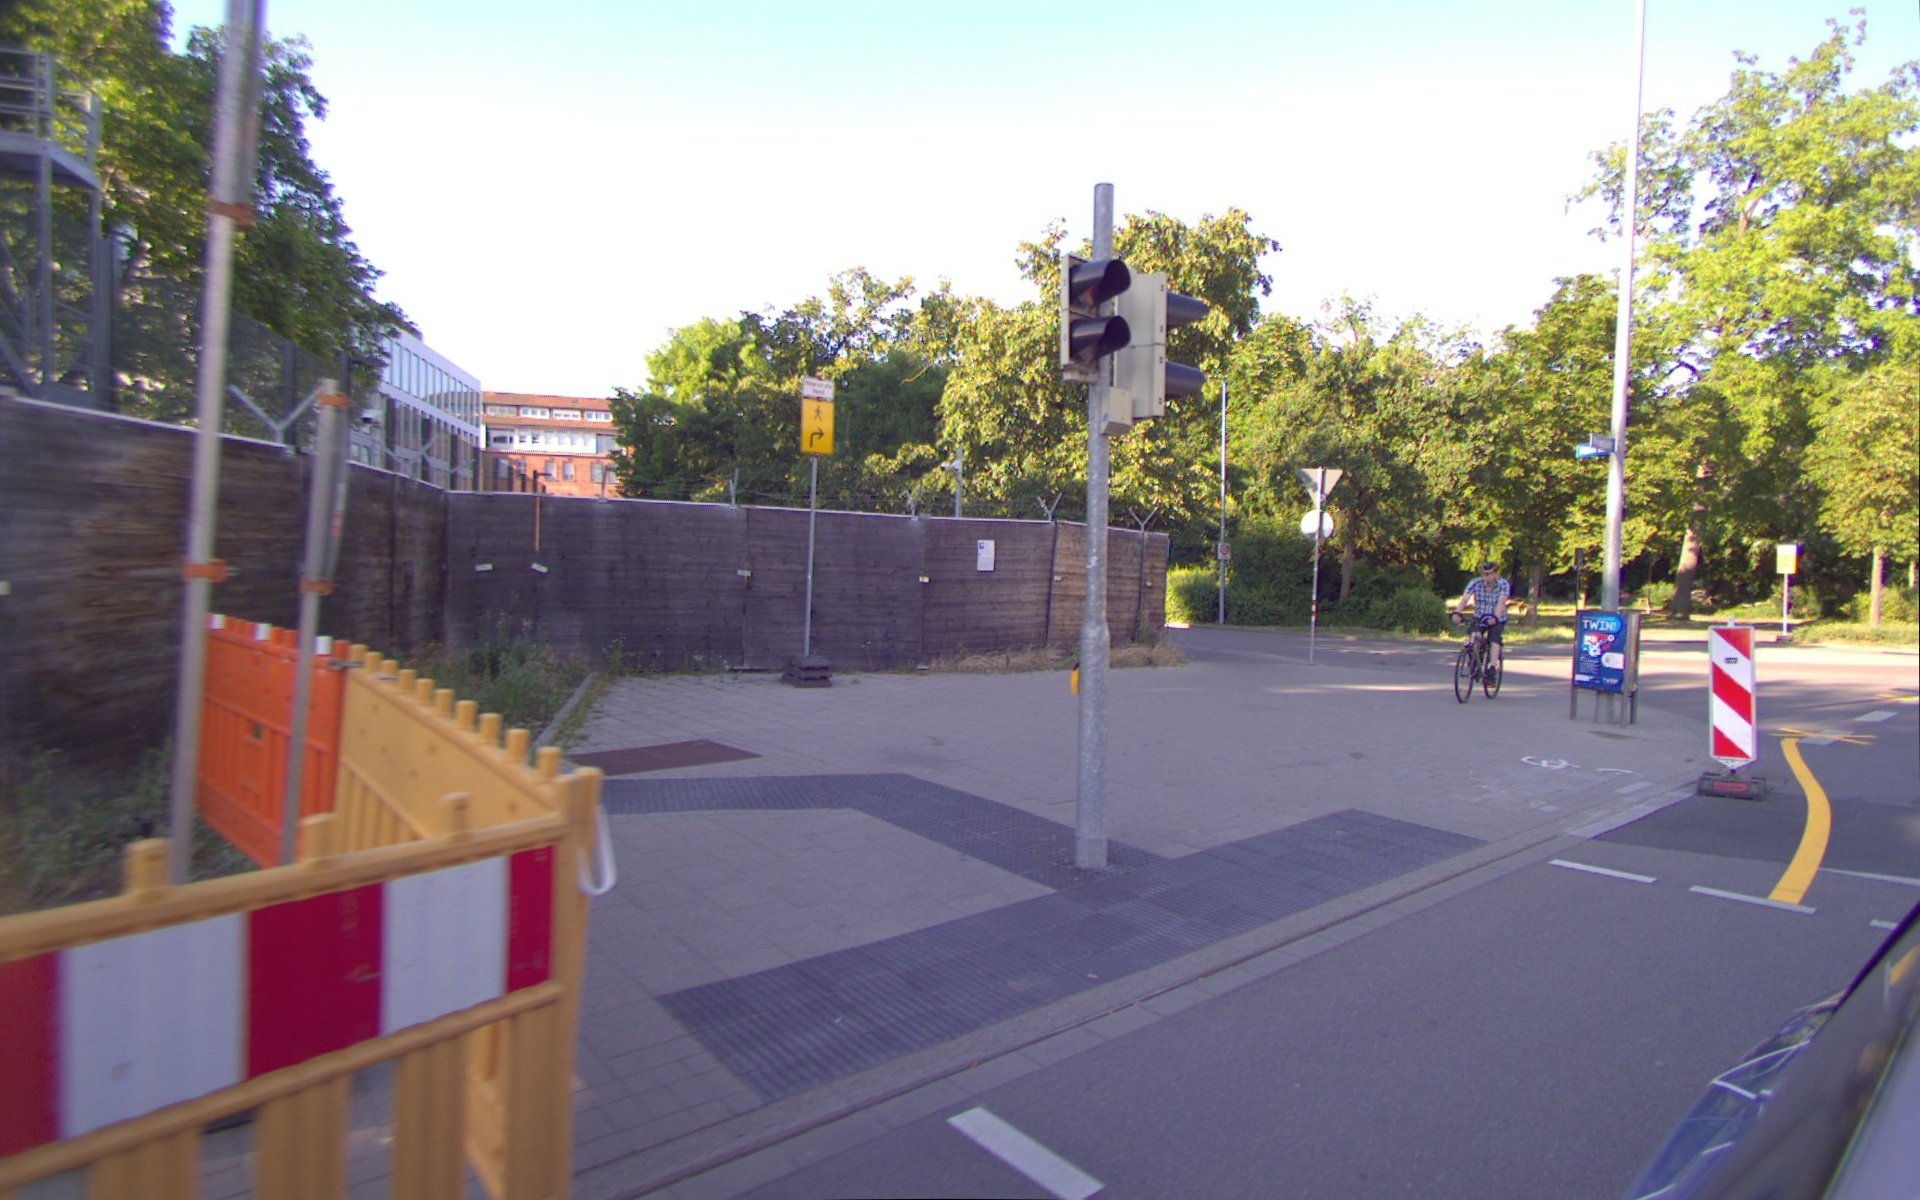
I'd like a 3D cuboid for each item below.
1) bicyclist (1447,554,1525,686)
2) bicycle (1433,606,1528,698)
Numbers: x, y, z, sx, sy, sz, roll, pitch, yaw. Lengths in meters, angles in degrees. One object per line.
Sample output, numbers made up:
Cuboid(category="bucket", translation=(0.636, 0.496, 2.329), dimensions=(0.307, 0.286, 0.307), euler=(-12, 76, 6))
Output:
Cuboid(category="bicyclist", translation=(6.771, 0.235, 13.028), dimensions=(0.888, 1.634, 0.585), euler=(0, 2, -42))
Cuboid(category="bicycle", translation=(6.784, 0.639, 13.153), dimensions=(1.878, 1.074, 0.428), euler=(-1, 2, -41))
